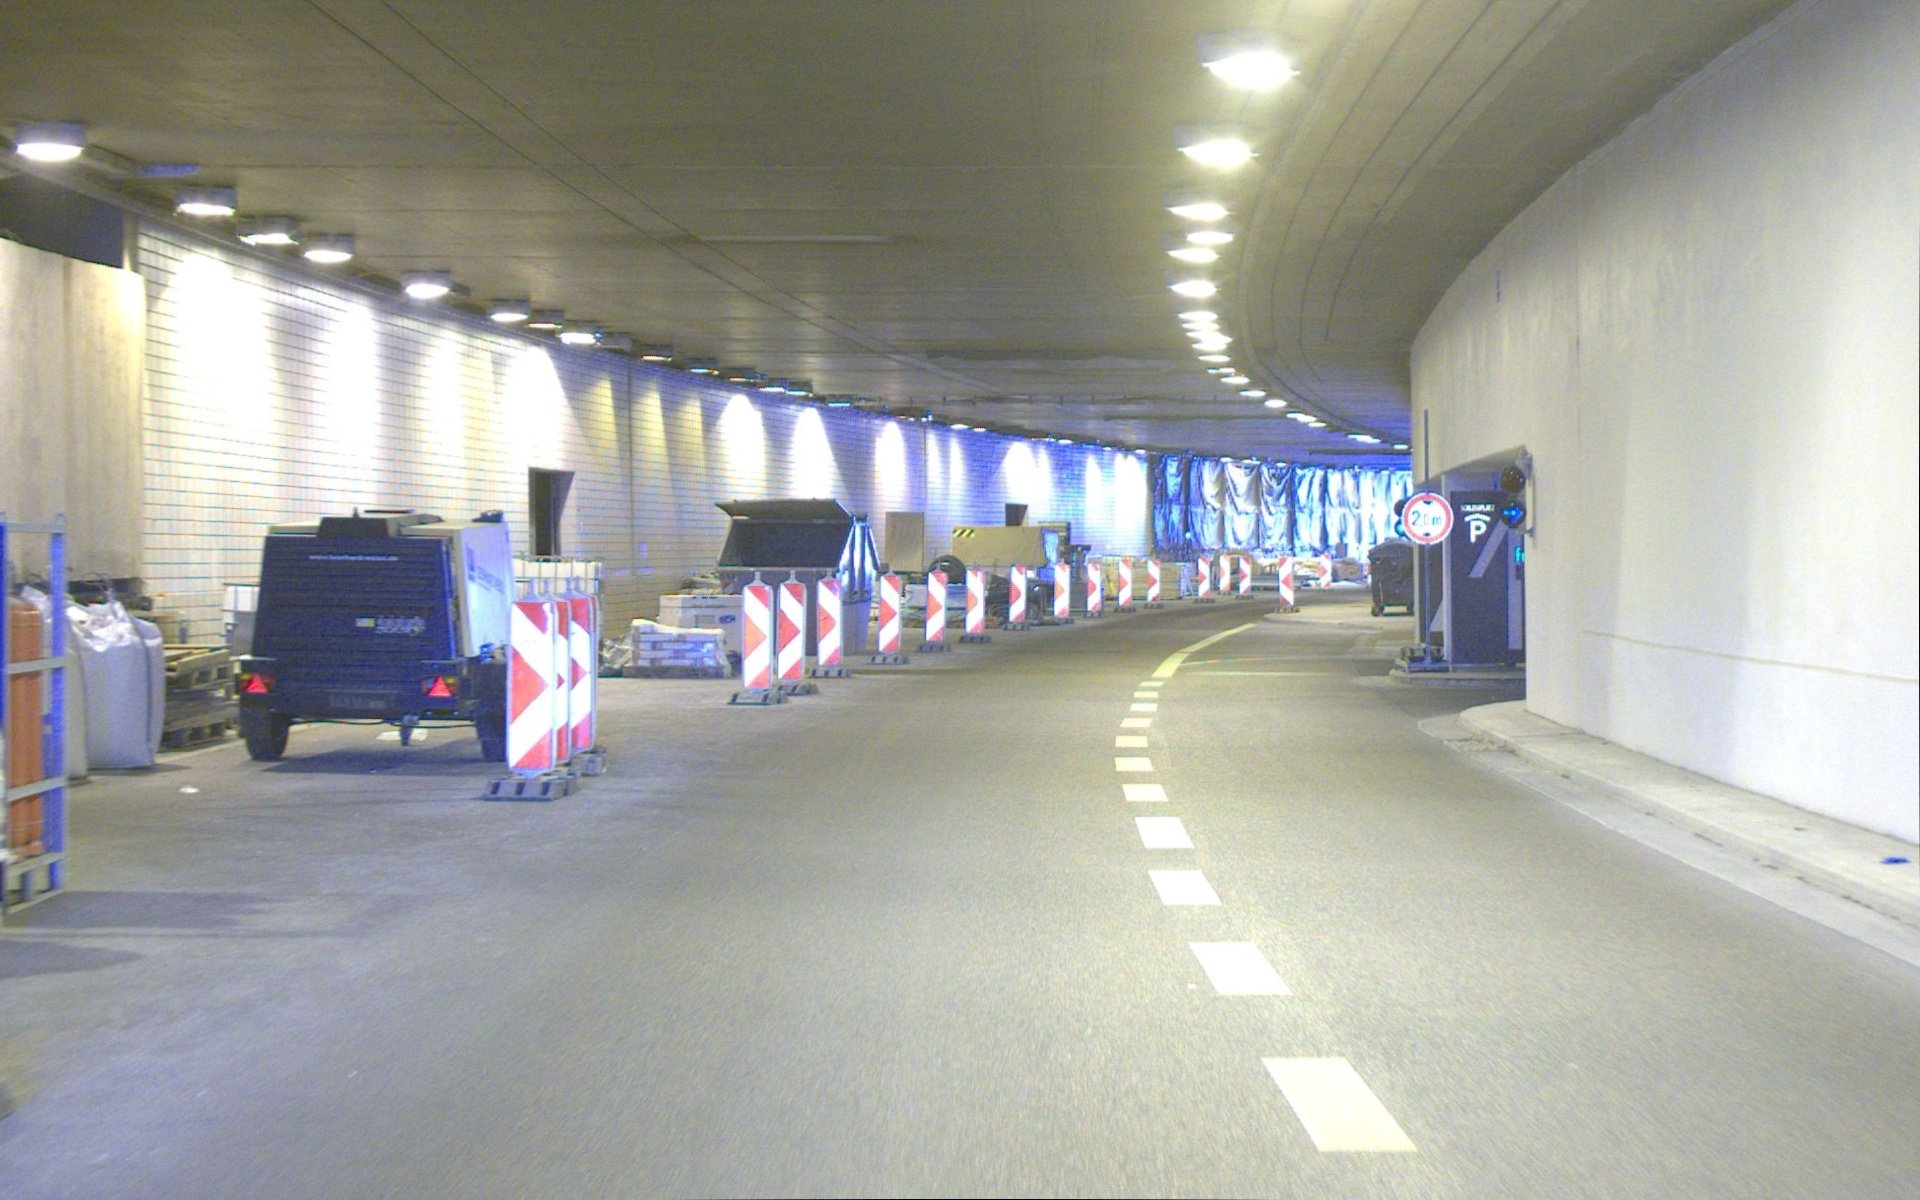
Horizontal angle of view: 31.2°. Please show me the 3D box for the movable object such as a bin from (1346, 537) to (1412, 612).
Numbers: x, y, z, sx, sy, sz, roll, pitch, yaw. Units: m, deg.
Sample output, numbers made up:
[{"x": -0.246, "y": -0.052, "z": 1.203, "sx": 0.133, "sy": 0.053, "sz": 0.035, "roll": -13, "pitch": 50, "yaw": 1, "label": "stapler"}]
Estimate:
[{"x": 8.401, "y": -0.512, "z": 68.884, "sx": 1.195, "sy": 1.455, "sz": 1.605, "roll": -2, "pitch": 0, "yaw": 9, "label": "movable object such as a bin"}]

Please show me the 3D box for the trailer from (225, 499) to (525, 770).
[{"x": -4.110, "y": 0.217, "z": 24.520, "sx": 1.580, "sy": 1.792, "sz": 2.939, "roll": 1, "pitch": 1, "yaw": 1, "label": "trailer"}]
